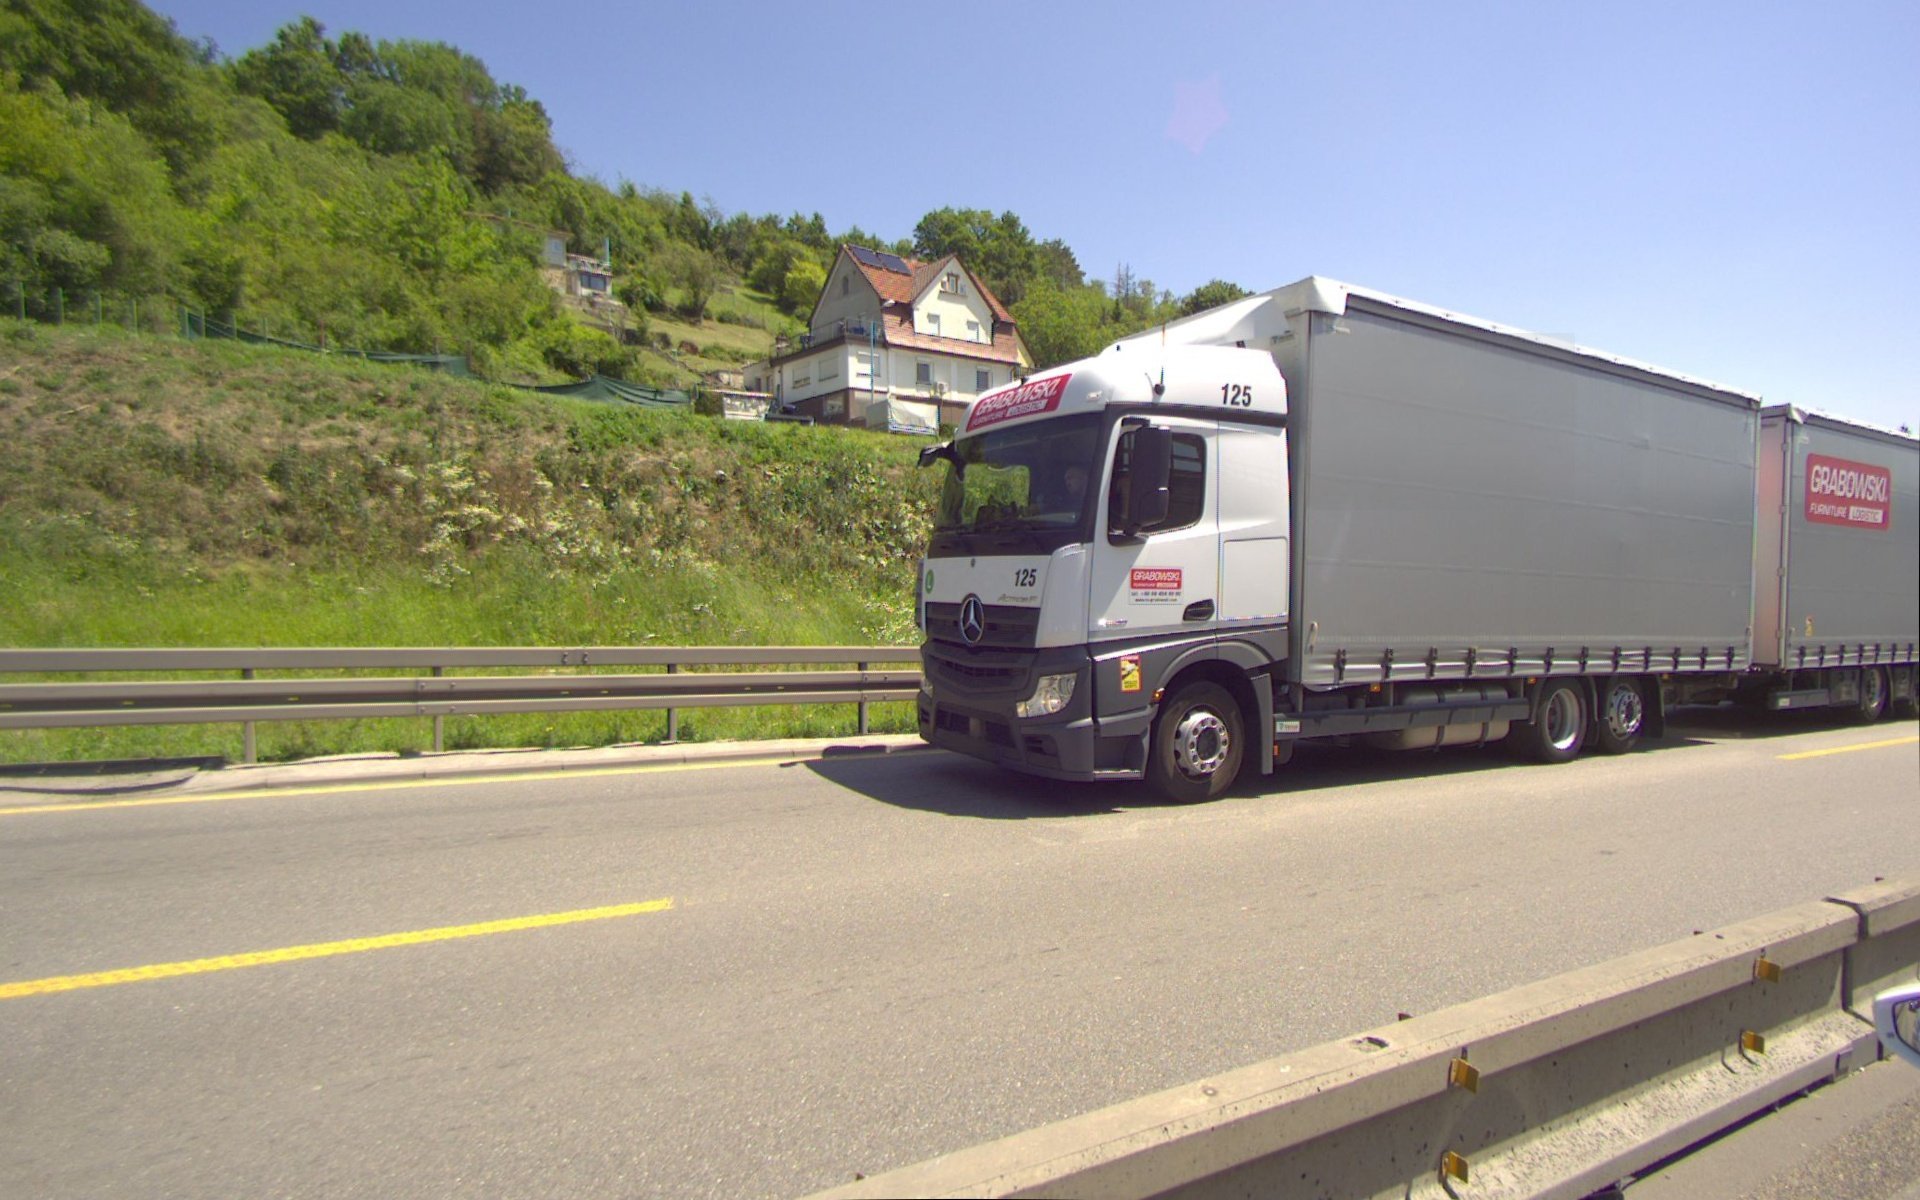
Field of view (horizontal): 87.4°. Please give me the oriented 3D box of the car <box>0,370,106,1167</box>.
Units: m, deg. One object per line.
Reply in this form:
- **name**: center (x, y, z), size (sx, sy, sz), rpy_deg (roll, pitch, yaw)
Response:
- **car**: center (-4.237, 0.380, 1.319), size (4.448, 1.915, 1.840), rpy_deg (1, 1, -30)

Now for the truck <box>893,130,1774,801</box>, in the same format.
- **truck**: center (4.513, -0.803, 10.427), size (10.263, 4.455, 2.608), rpy_deg (1, 1, -31)

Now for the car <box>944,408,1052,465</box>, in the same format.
- **car**: center (1.682, -7.080, 43.848), size (4.515, 1.678, 1.977), rpy_deg (2, 0, -40)

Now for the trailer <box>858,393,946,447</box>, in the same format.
- **trailer**: center (-2.330, -7.225, 40.535), size (3.014, 1.536, 1.885), rpy_deg (2, 0, -41)

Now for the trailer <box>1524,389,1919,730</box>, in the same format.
- **trailer**: center (12.585, -0.413, 15.389), size (8.605, 4.042, 2.914), rpy_deg (1, 1, -31)
